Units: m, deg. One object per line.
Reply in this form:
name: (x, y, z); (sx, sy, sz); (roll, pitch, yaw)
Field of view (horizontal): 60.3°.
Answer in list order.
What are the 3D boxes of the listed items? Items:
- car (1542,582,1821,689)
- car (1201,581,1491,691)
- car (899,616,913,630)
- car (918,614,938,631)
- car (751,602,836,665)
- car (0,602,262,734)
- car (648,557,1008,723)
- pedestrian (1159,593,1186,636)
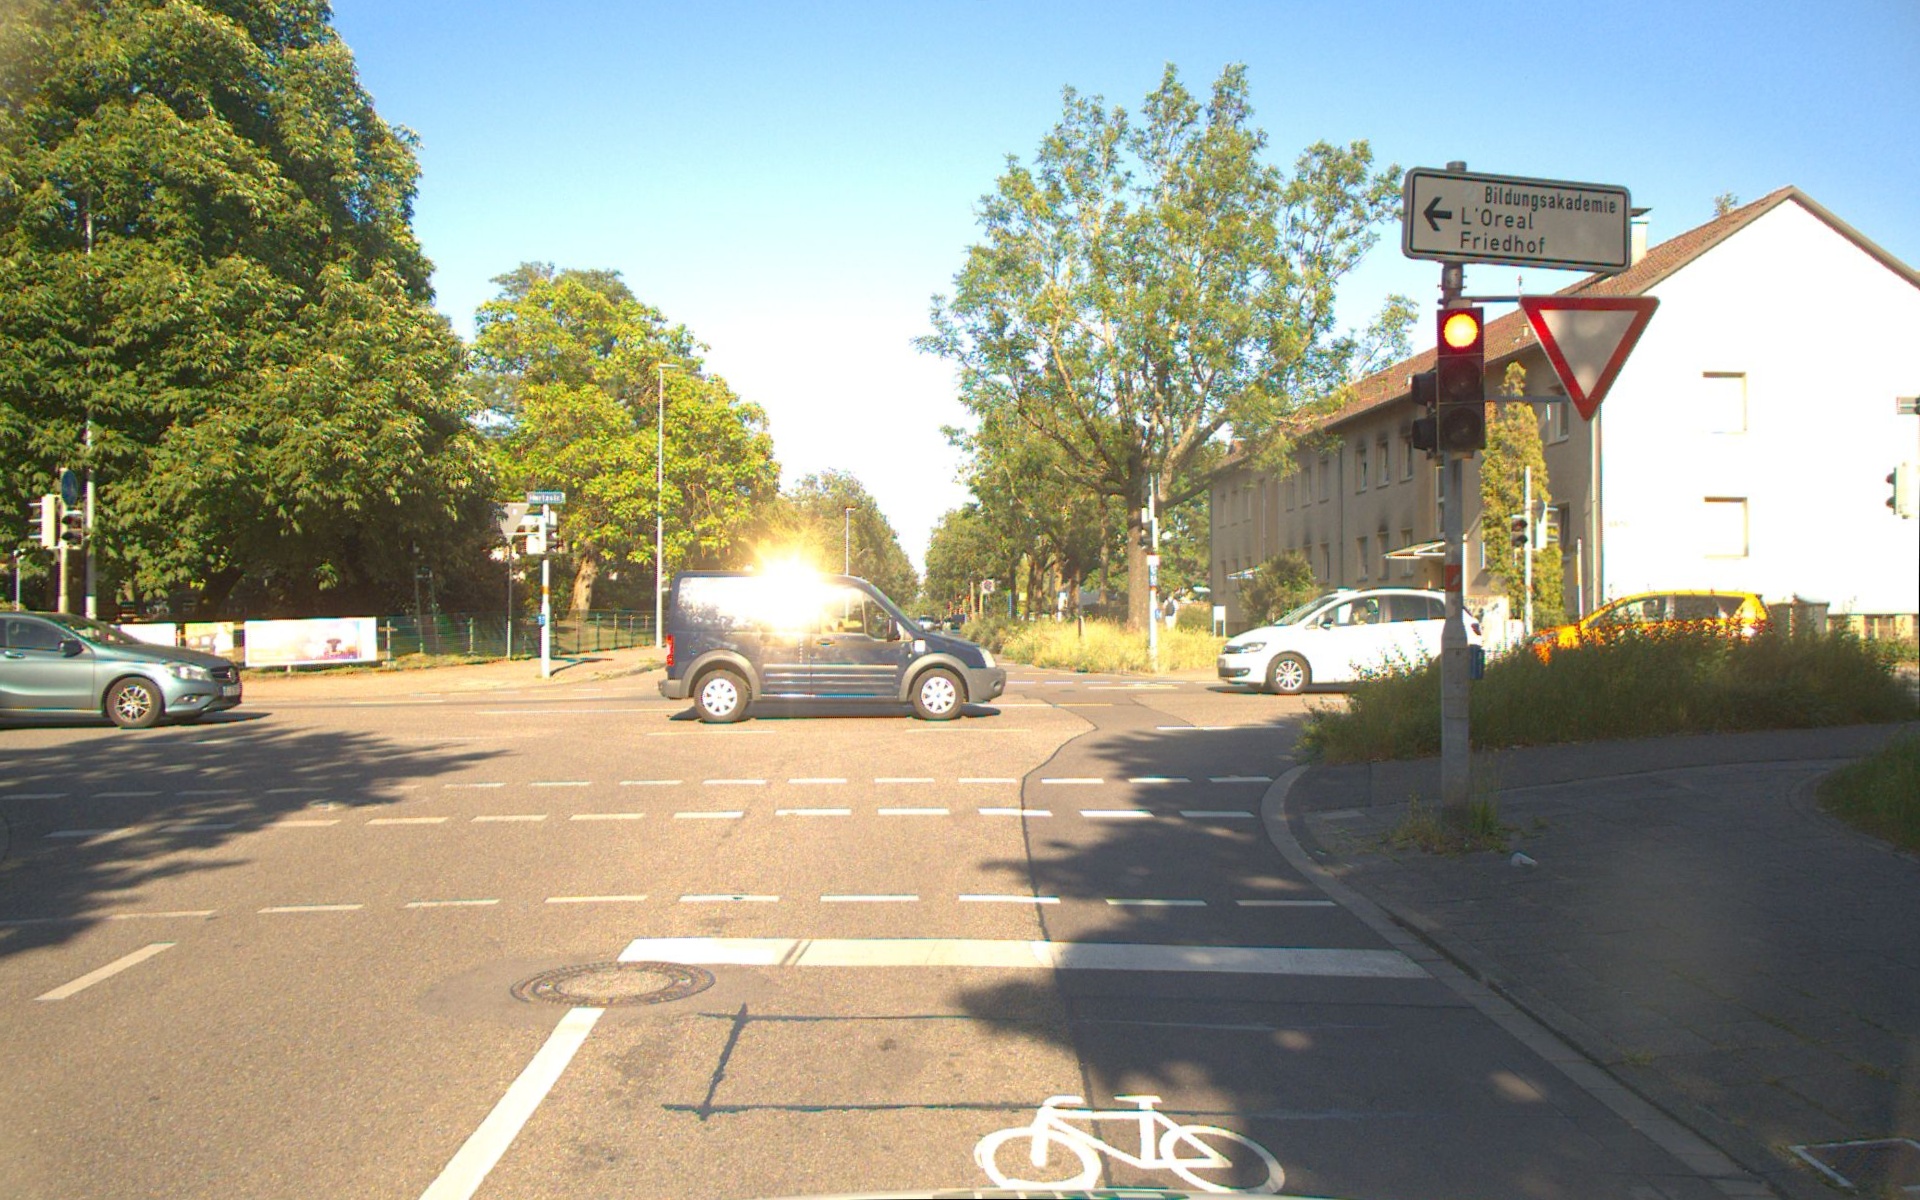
car: (11.590, 0.547, 26.825); (3.902, 1.610, 1.759); (1, -1, 15)
car: (5.921, 0.544, 25.603); (4.027, 1.591, 1.755); (1, -1, -6)
car: (-6.779, 2.892, 207.805); (1.722, 1.653, 3.268); (0, 0, 0)
car: (-3.005, 2.057, 153.896); (1.807, 1.487, 3.529); (0, 0, -1)
car: (-3.970, 0.776, 39.921); (1.676, 1.410, 3.471); (0, 0, 0)
car: (-11.239, 0.829, 20.660); (4.198, 1.515, 1.912); (-1, 0, -3)
car: (-1.626, 0.464, 20.664); (4.260, 1.920, 1.858); (-1, 0, -5)
pedestrian: (7.719, 0.519, 60.081); (0.825, 1.519, 0.924); (2, 0, -1)
